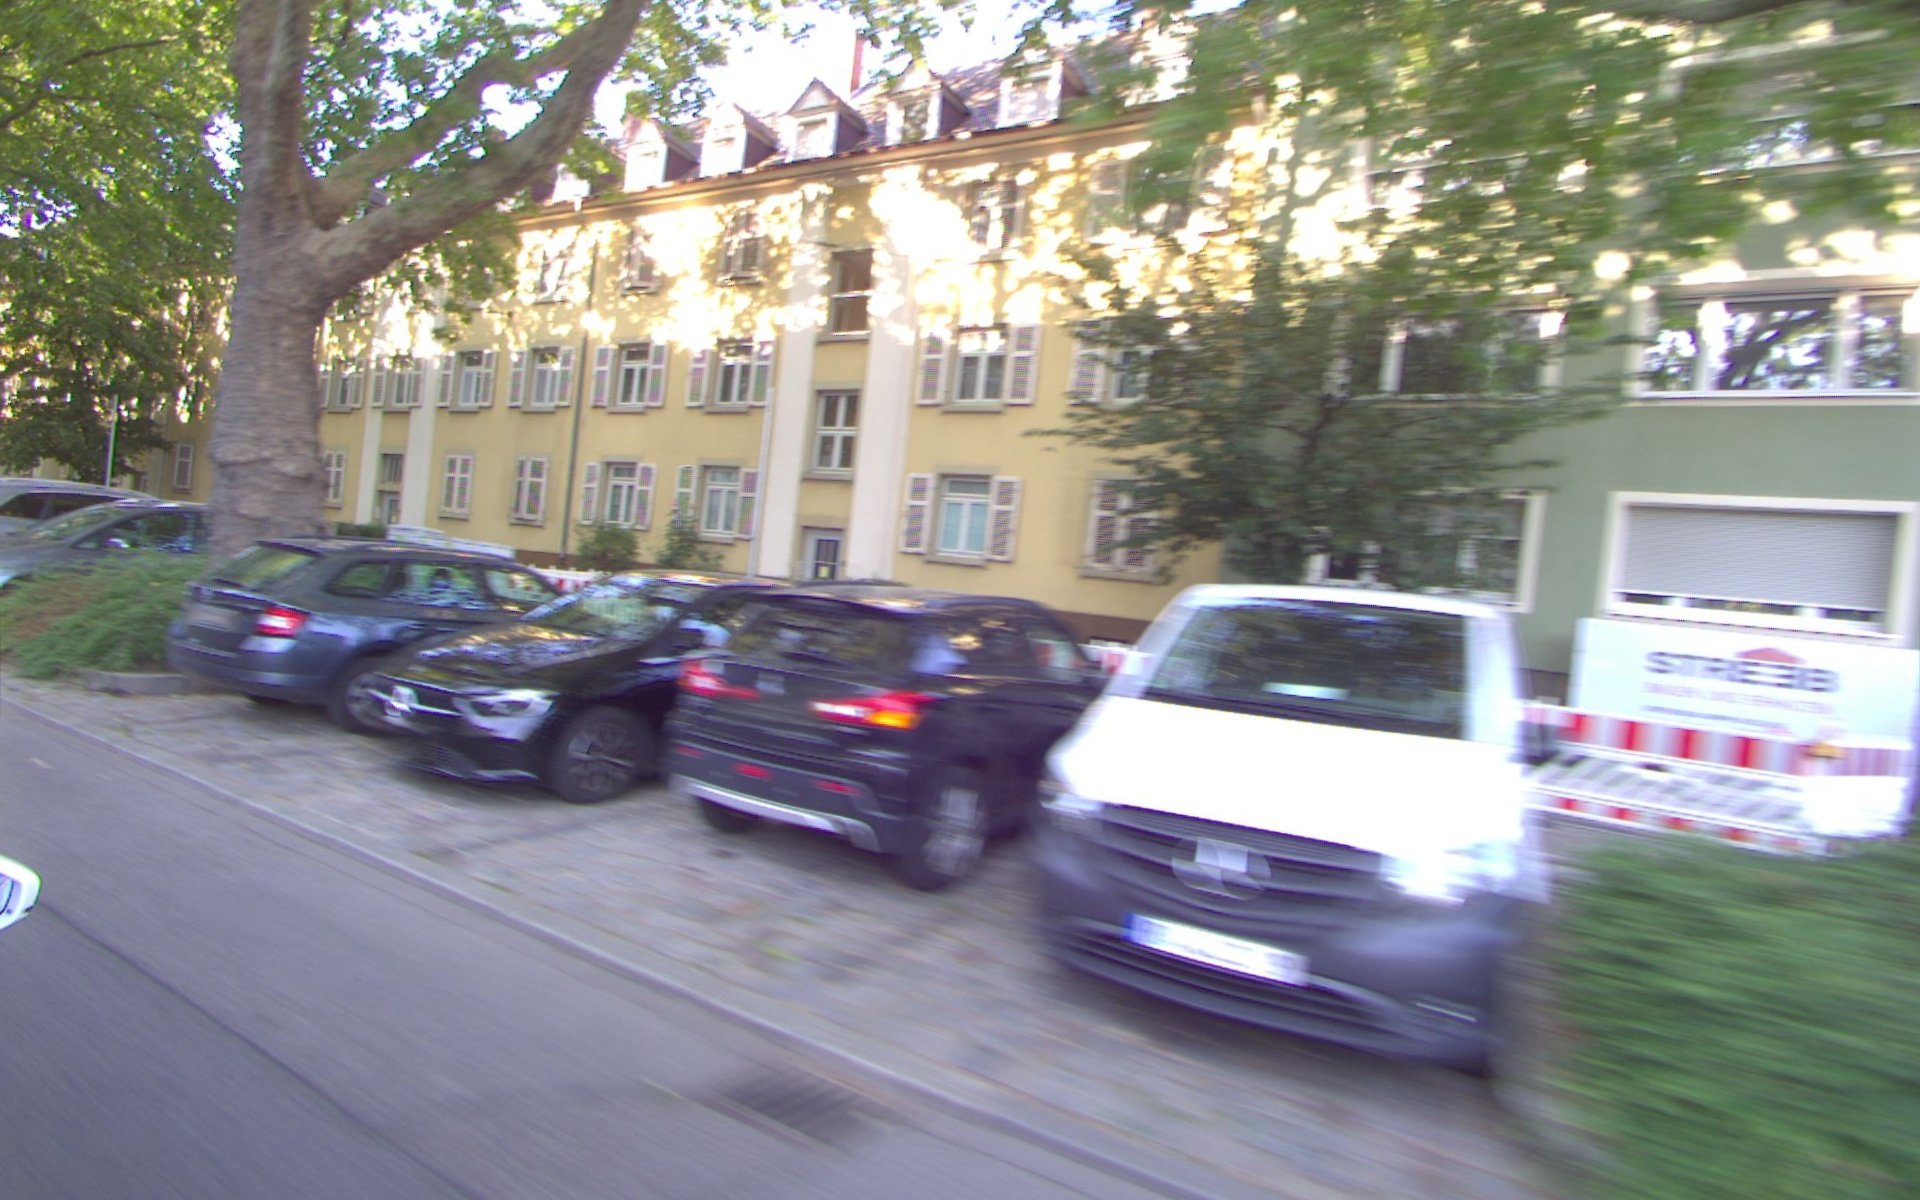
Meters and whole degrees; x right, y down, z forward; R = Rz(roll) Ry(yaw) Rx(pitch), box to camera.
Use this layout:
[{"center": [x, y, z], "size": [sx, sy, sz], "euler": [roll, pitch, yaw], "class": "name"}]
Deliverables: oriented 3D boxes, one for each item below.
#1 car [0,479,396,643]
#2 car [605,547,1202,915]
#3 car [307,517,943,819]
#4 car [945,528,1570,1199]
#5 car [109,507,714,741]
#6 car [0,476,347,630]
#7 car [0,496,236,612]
[{"center": [-10.052, -0.439, 12.693], "size": [1.888, 1.622, 4.717], "euler": [7, 0, 32], "class": "car"}, {"center": [-0.001, 0.749, 7.133], "size": [1.910, 1.621, 4.412], "euler": [7, 0, 32], "class": "car"}, {"center": [-2.262, 0.499, 8.210], "size": [1.888, 1.622, 4.717], "euler": [7, 0, 32], "class": "car"}, {"center": [2.132, 0.829, 5.597], "size": [1.898, 1.849, 5.225], "euler": [5, 0, 30], "class": "car"}, {"center": [-4.670, 0.273, 9.416], "size": [1.887, 1.524, 4.593], "euler": [7, 0, 29], "class": "car"}, {"center": [-11.800, -0.636, 14.431], "size": [1.887, 1.743, 4.718], "euler": [7, 0, 31], "class": "car"}, {"center": [-14.623, -0.806, 15.916], "size": [1.887, 1.553, 4.718], "euler": [7, 0, 31], "class": "car"}]
